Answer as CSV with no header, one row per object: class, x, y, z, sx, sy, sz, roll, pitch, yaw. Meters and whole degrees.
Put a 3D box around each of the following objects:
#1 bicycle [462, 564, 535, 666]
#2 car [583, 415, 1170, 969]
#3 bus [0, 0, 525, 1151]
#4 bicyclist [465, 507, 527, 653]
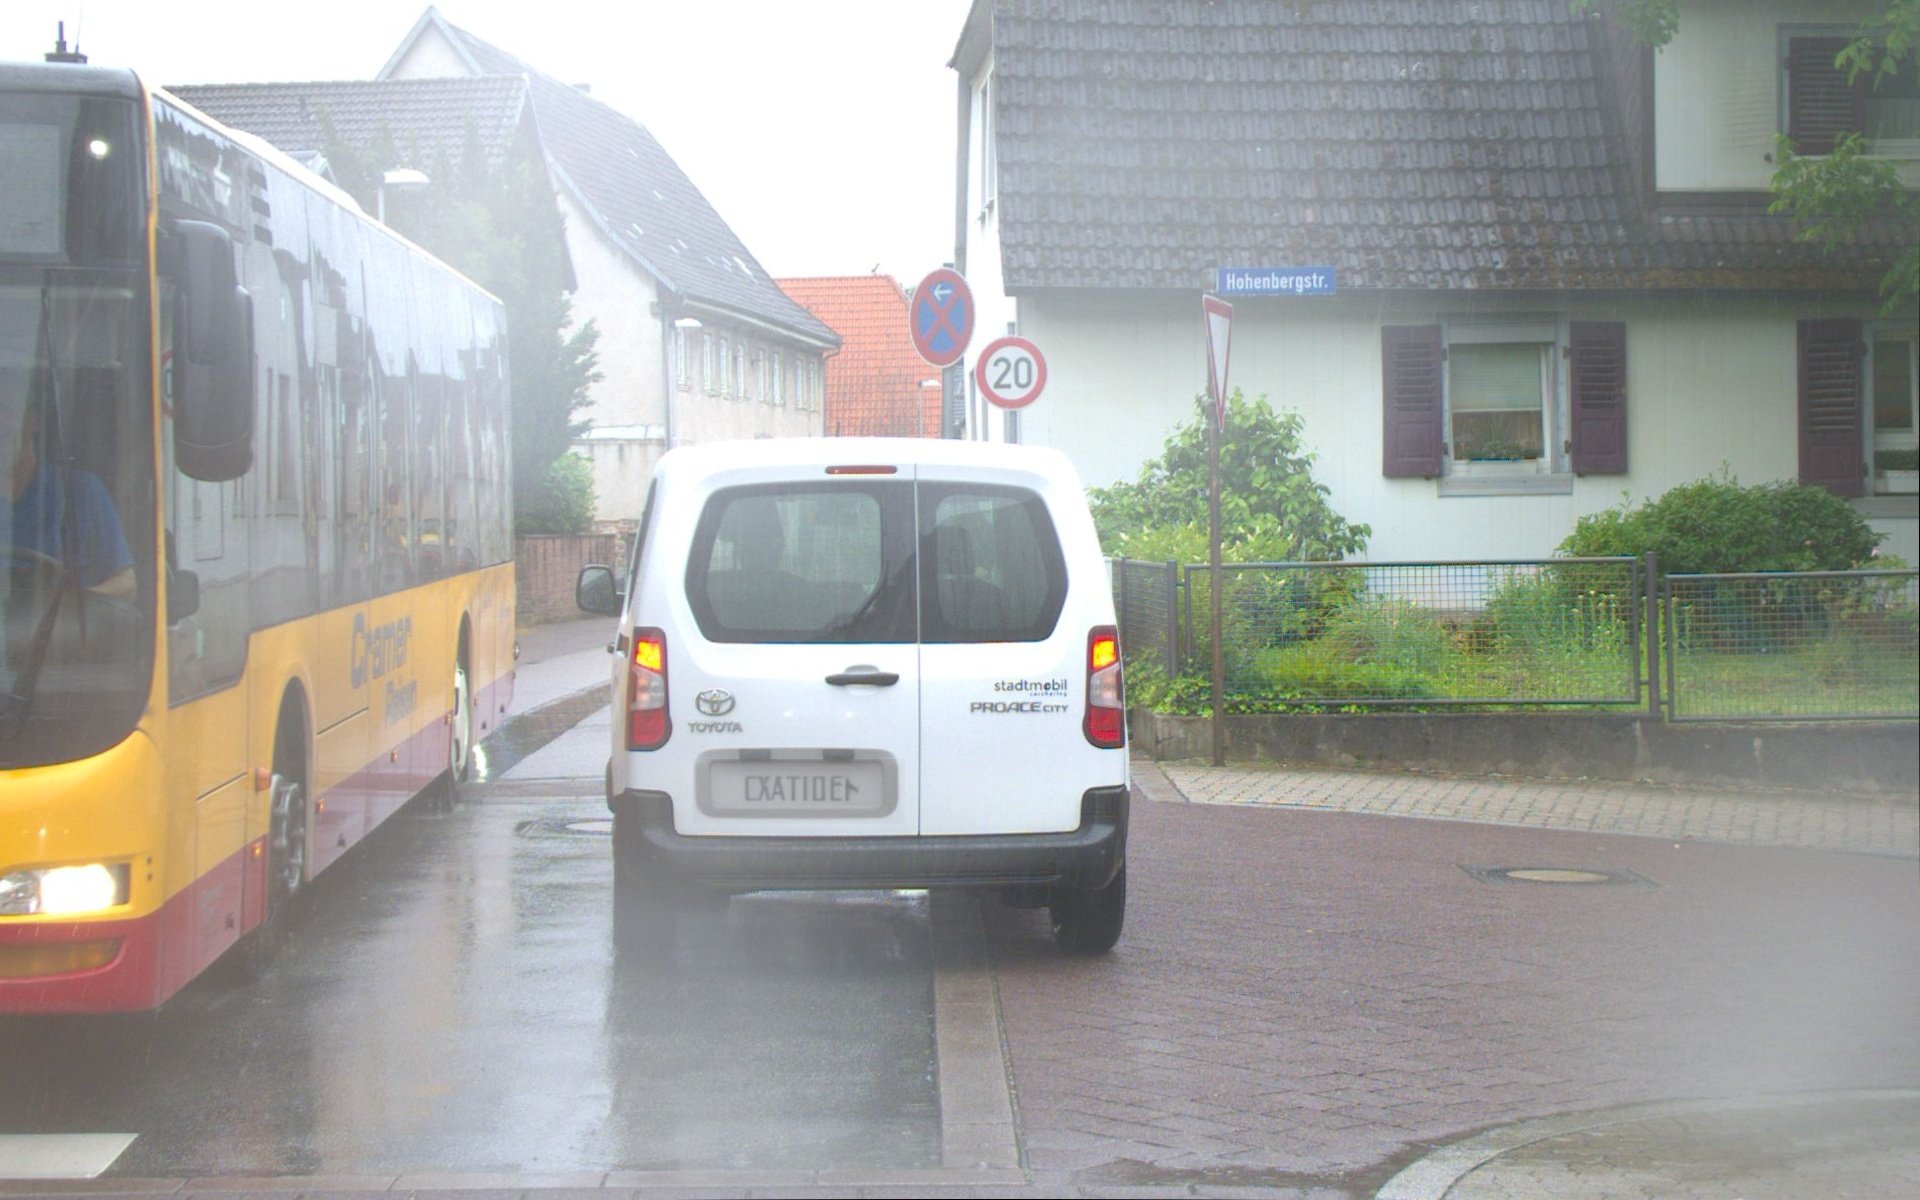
bicycle,-5.505,0.172,41.079,0.546,1.177,1.621,-2,0,2
car,-0.464,0.266,13.081,1.894,1.787,3.814,1,1,-6
bus,-3.595,-0.427,14.324,2.649,2.989,12.195,0,3,-3
bicyclist,-5.534,-0.240,41.031,0.589,1.701,0.517,-2,0,2
